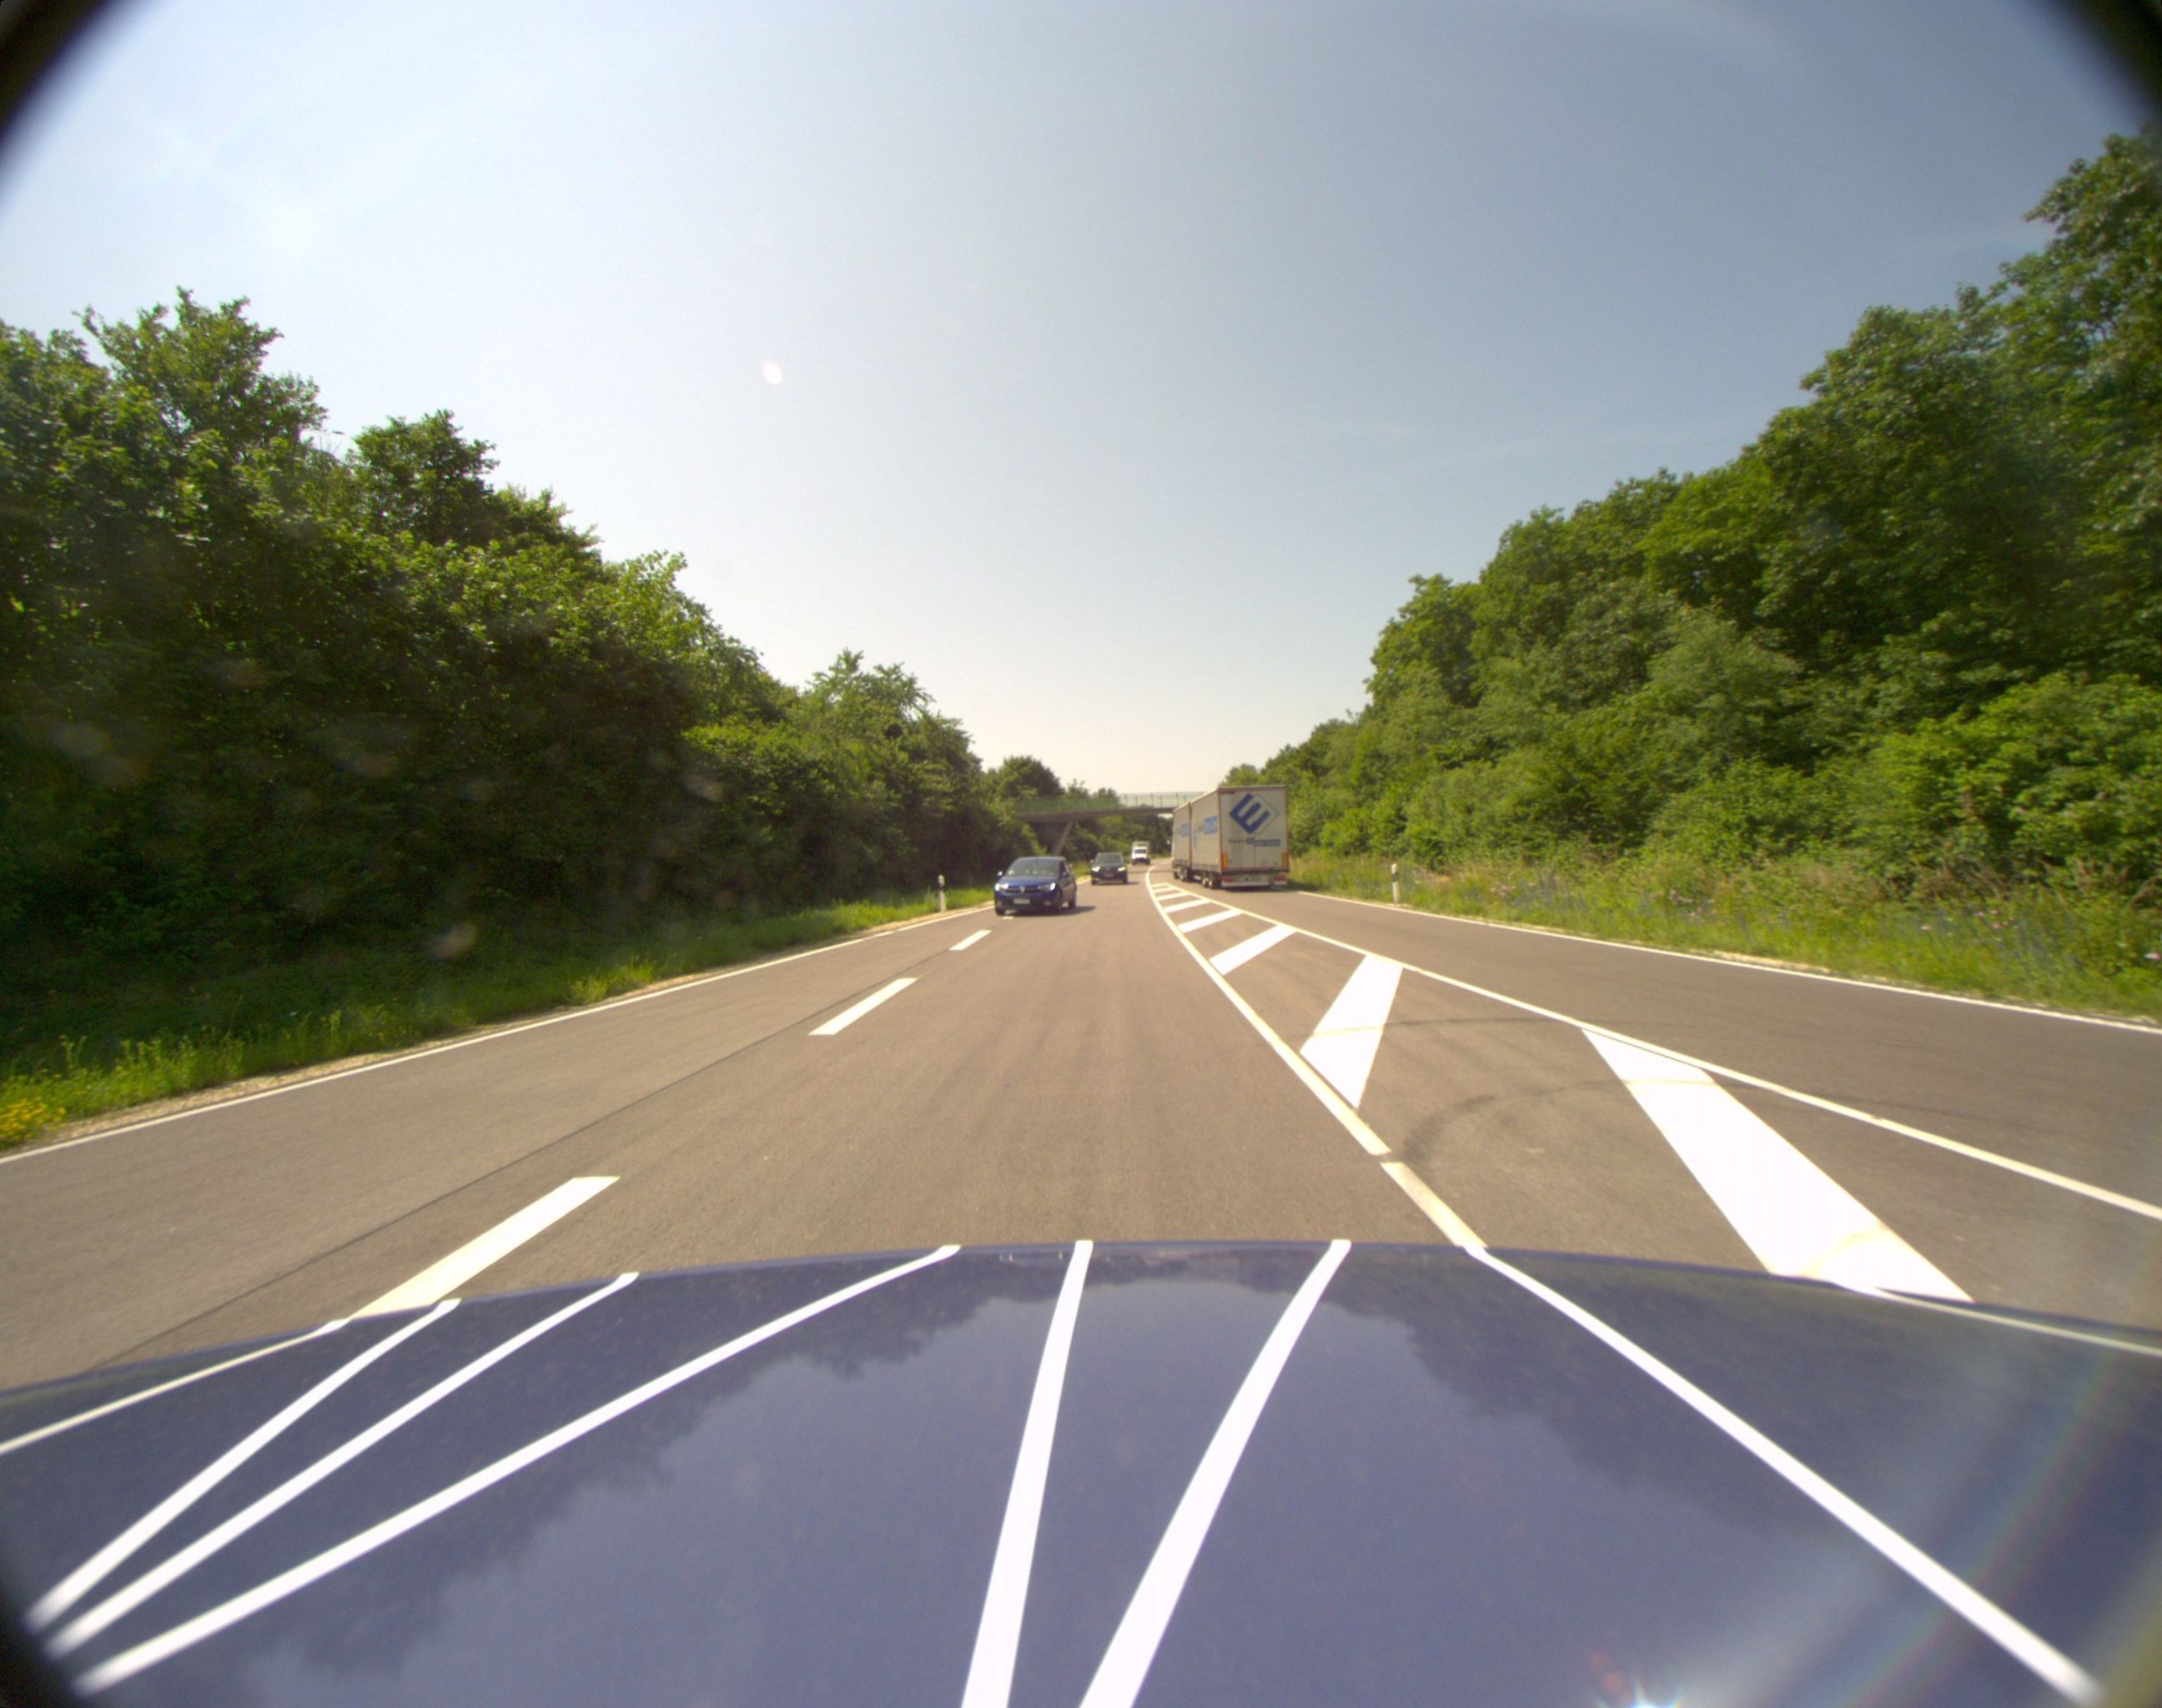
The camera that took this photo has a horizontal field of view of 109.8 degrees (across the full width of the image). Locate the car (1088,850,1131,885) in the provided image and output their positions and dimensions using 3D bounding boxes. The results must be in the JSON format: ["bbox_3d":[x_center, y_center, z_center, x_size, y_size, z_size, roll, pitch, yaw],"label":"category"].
[{"bbox_3d":[1.608,0.665,40.945,1.923,1.711,5.480,-2,1,6],"label":"car"}]

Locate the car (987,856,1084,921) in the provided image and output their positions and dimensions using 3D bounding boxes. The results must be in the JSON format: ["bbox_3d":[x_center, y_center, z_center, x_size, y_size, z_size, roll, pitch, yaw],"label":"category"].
[{"bbox_3d":[-1.142,0.874,21.054,1.807,1.532,3.947,-1,1,9],"label":"car"}]

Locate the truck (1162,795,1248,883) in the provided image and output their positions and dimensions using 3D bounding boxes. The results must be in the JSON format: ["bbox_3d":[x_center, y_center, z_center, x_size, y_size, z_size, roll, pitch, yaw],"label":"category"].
[{"bbox_3d":[6.454,-0.696,41.520,2.805,4.072,11.062,-2,0,0],"label":"truck"}]

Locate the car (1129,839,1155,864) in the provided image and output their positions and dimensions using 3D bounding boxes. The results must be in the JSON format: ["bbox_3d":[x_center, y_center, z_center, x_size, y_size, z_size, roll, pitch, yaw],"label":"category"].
[{"bbox_3d":[7.787,-0.335,96.368,2.590,3.046,6.886,-1,1,10],"label":"car"}]

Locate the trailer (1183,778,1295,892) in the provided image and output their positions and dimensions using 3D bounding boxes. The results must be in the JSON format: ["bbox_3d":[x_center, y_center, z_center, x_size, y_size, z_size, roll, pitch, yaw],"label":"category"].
[{"bbox_3d":[6.408,-0.699,32.368,2.835,4.072,9.000,-2,0,0],"label":"trailer"}]
